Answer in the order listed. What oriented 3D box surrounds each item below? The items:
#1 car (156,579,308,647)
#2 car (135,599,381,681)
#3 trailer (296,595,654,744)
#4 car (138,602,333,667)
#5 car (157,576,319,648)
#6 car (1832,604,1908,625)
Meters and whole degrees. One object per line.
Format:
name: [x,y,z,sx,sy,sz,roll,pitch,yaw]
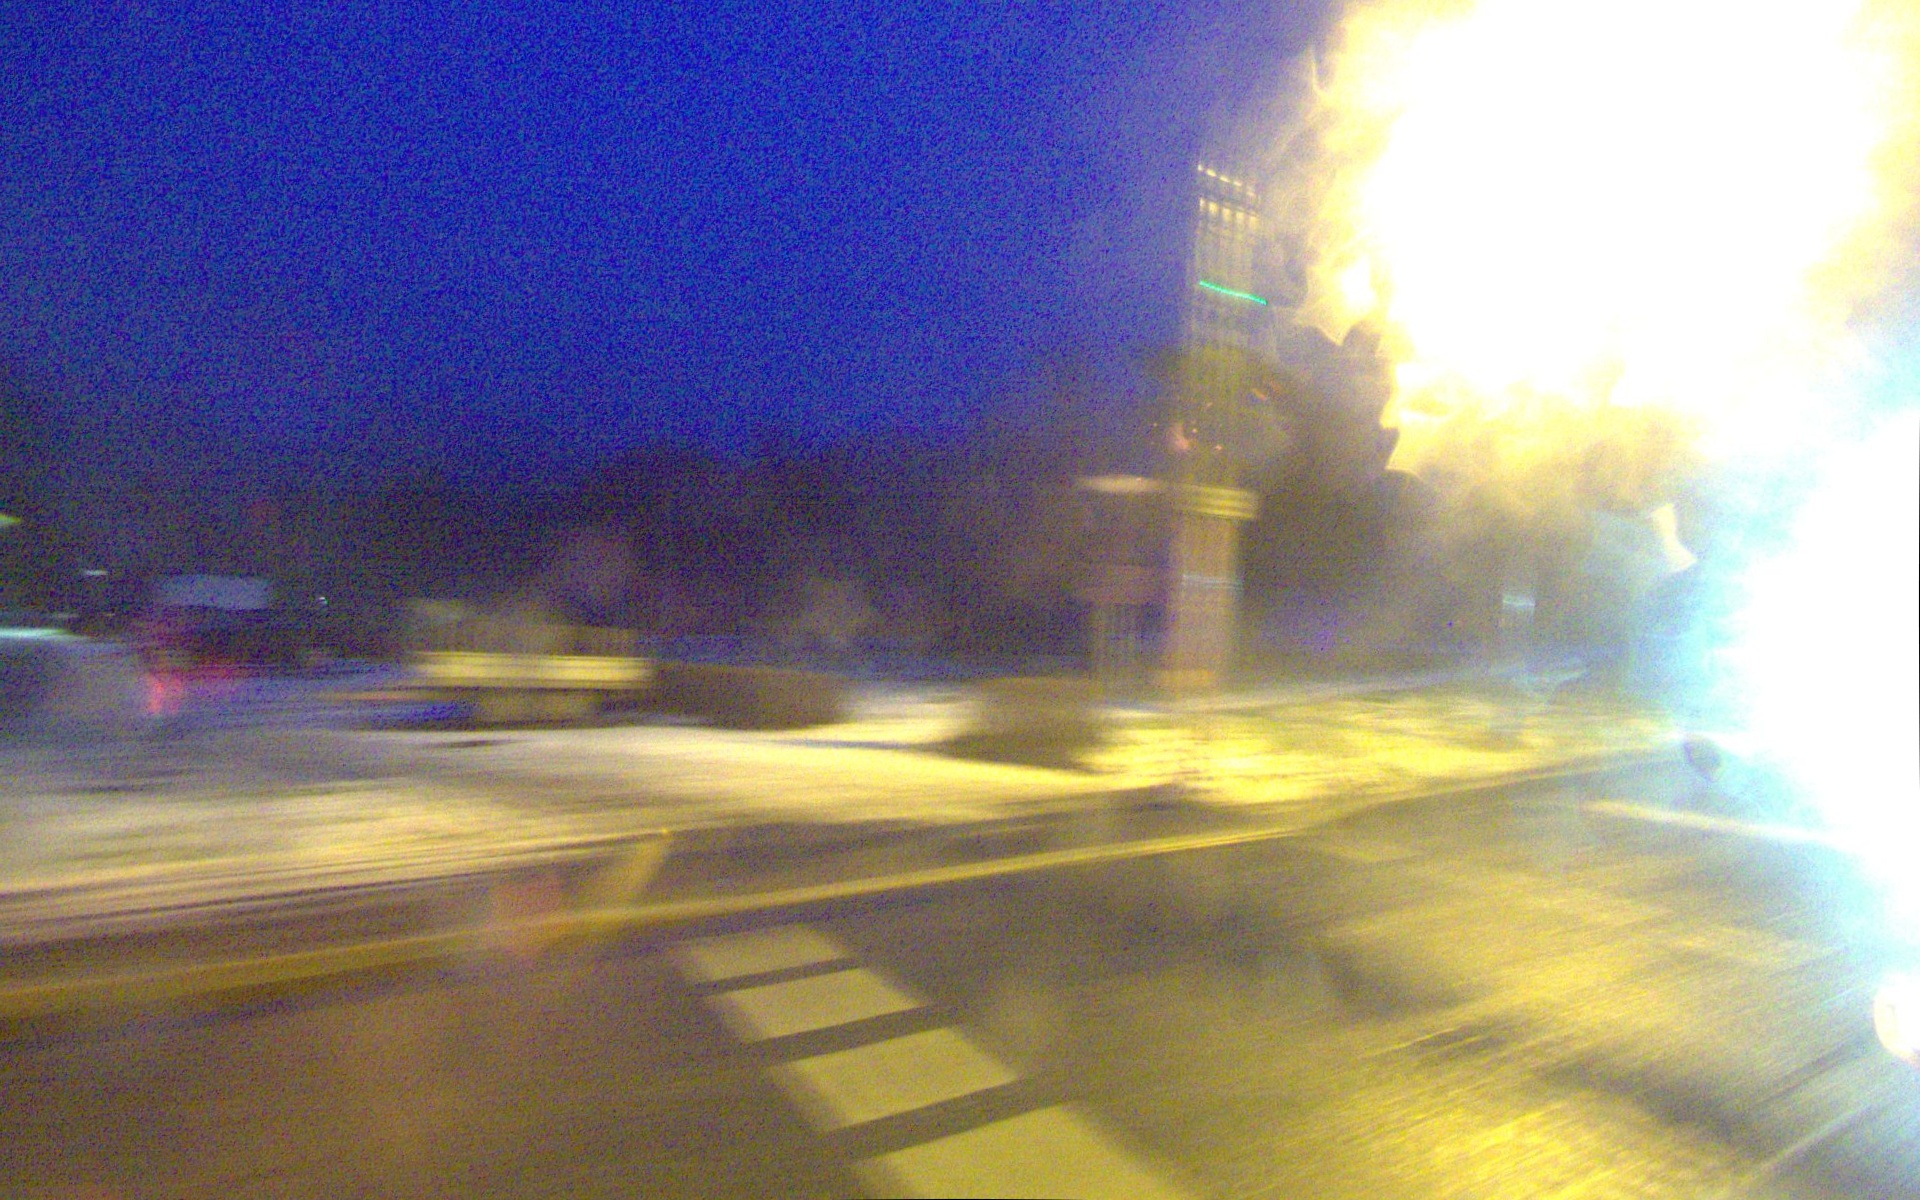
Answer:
car: [-25.296,0.486,34.985,1.741,2.083,3.976,4,0,45]
car: [-16.813,0.997,24.202,4.595,1.719,1.918,4,0,-43]
trailer: [-6.414,0.865,13.483,4.063,1.699,1.800,1,-3,-37]
car: [-22.077,1.075,30.711,4.595,1.719,1.918,4,0,-43]
car: [-23.730,0.408,33.093,1.973,2.083,3.976,4,0,45]
car: [80.292,1.249,88.736,4.852,1.758,1.991,0,0,39]
